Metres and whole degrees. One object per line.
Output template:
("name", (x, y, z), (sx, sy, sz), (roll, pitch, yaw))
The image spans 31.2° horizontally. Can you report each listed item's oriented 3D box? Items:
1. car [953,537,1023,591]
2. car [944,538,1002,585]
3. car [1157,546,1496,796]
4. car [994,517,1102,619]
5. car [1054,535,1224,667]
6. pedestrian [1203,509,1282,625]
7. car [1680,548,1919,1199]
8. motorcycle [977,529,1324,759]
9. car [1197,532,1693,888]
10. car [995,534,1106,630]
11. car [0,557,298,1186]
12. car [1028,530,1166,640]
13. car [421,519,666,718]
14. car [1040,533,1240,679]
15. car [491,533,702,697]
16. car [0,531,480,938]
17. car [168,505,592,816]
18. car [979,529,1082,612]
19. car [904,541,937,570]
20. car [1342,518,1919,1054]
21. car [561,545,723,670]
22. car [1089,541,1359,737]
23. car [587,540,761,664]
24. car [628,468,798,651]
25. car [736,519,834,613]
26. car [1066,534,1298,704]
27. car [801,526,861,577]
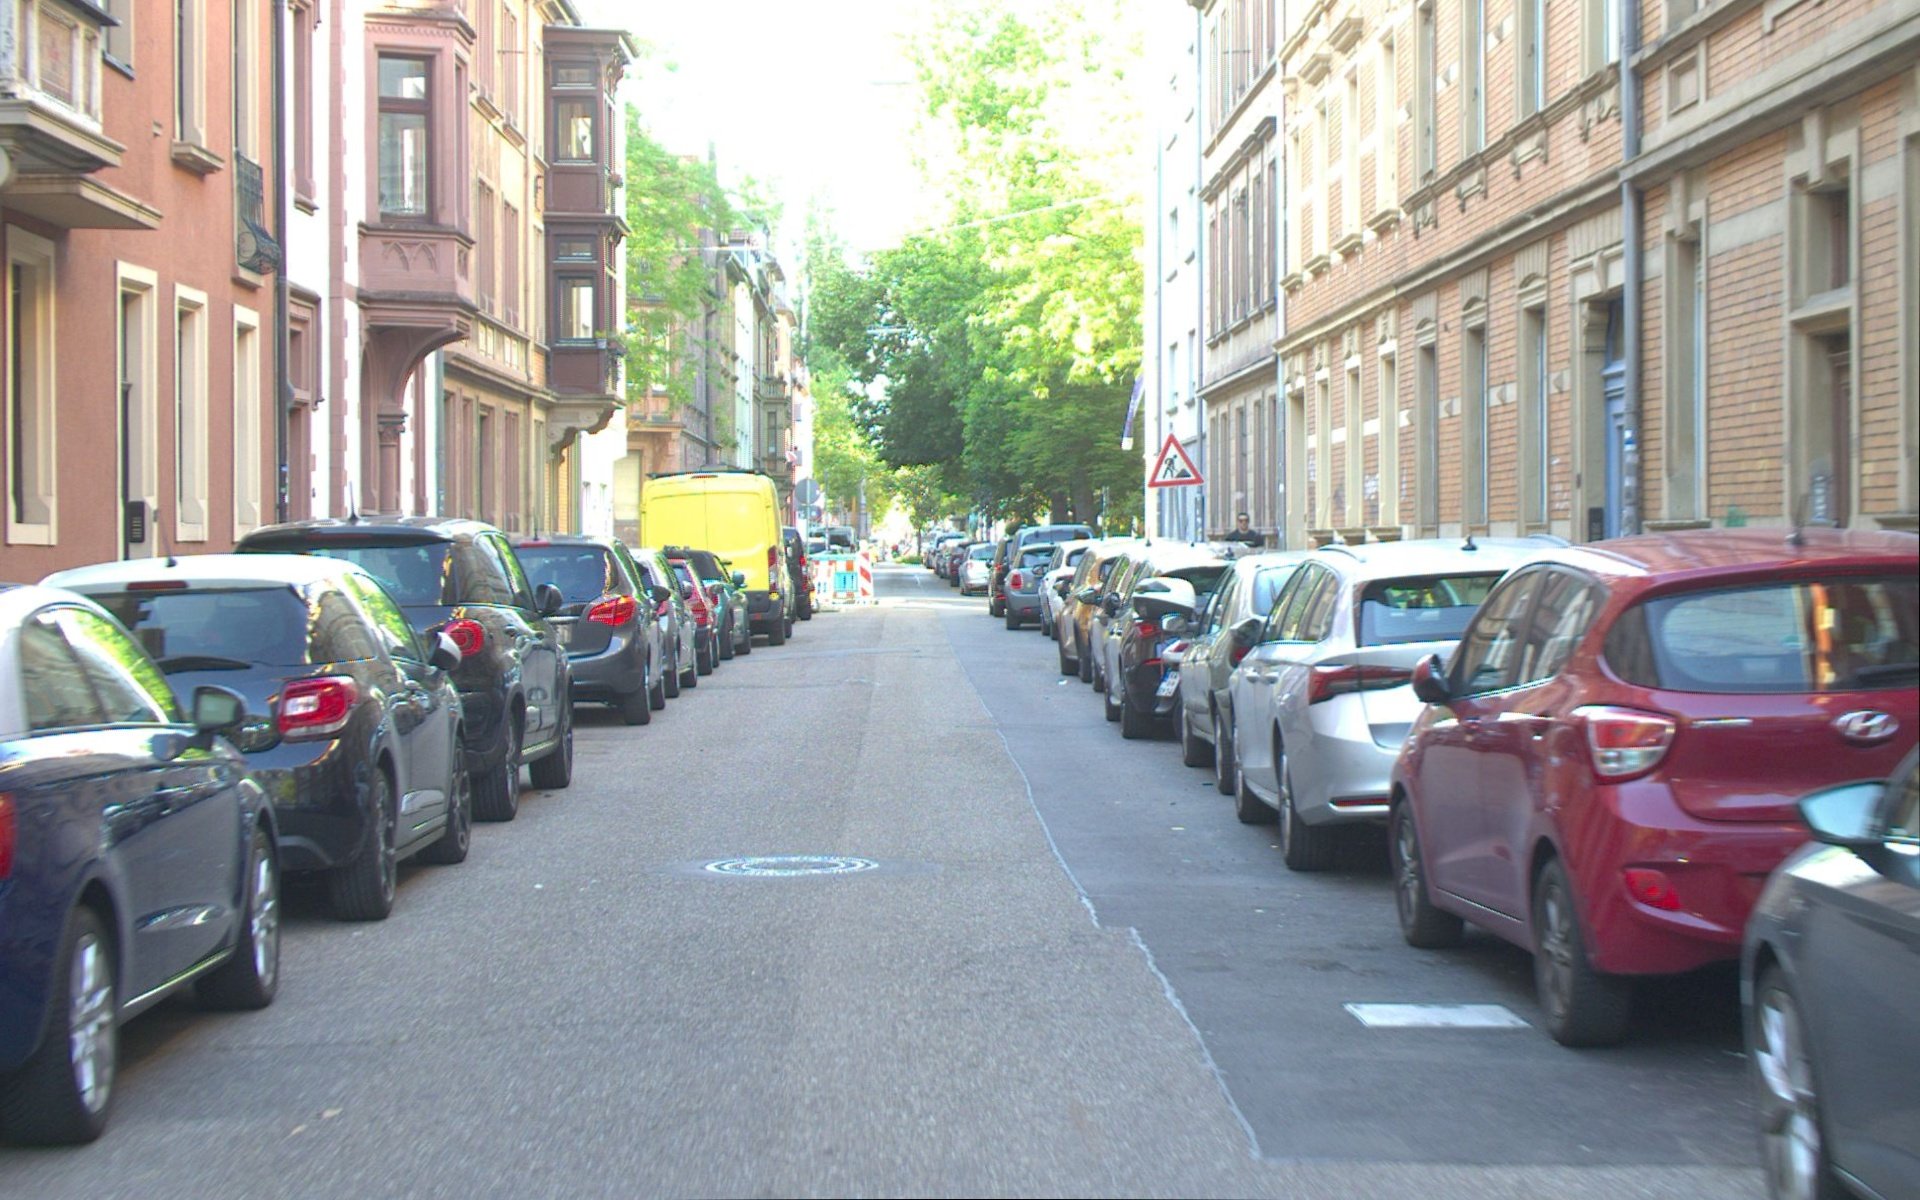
("car", (0.794, -1.053, 99.309), (1.723, 1.517, 4.001), (-1, 1, -4))
("car", (0.431, -1.350, 120.590), (1.894, 1.620, 4.000), (0, 0, -2))
("car", (2.220, 0.378, 21.731), (1.692, 1.401, 3.992), (0, 1, 0))
("car", (1.638, -0.648, 65.211), (1.753, 1.780, 4.724), (-3, 1, -1))
("car", (2.208, -0.025, 43.256), (1.720, 1.475, 4.083), (-4, 1, -1))
("pedestrian", (4.064, -0.476, 49.454), (0.654, 1.625, 0.880), (-2, 0, -42))
("car", (2.513, 0.681, 5.884), (1.676, 1.498, 4.069), (0, 1, 0))
("motorcycle", (1.338, 0.311, 24.085), (2.218, 1.531, 0.890), (2, 1, -27))
("car", (2.193, 0.421, 16.665), (1.762, 1.479, 4.402), (0, 1, 0))
("car", (1.536, -0.341, 59.777), (1.754, 1.448, 4.288), (-4, 1, 1))
("car", (-3.034, 0.592, 9.615), (1.781, 1.398, 3.743), (0, 1, -2))
("car", (2.104, -0.273, 53.893), (1.753, 1.513, 4.444), (-4, 1, -2))
("car", (-3.514, 0.110, 29.617), (1.781, 1.600, 4.070), (0, 1, -2))
("car", (1.947, 0.035, 38.279), (1.753, 1.441, 4.069), (-3, 1, -3))
("car", (-3.590, 0.103, 34.530), (1.694, 1.469, 3.919), (-3, 1, -1))
("car", (-3.118, 0.468, 14.723), (1.643, 1.450, 3.839), (-2, 1, -2))
("car", (-3.227, 0.273, 19.906), (1.761, 1.612, 4.189), (0, 1, 0))
("car", (1.391, -0.605, 69.881), (1.900, 1.634, 4.391), (0, 1, -1))
("car", (-2.407, -2.734, 208.548), (1.993, 1.722, 4.000), (-1, 1, -1))
("car", (2.437, 0.467, 11.528), (1.658, 1.474, 4.025), (0, 1, -3))
("car", (-3.707, 0.060, 40.515), (1.618, 1.322, 3.613), (-3, 1, -2))
("car", (2.004, 0.248, 27.196), (1.777, 1.392, 4.317), (0, 1, 0))
("car", (-3.699, -0.006, 45.059), (1.718, 1.408, 3.897), (-5, 1, 2))
("car", (-3.645, -0.628, 51.725), (2.175, 2.499, 5.879), (-2, 1, -1))
("car", (-3.413, -0.677, 66.447), (1.818, 1.760, 4.336), (0, 1, -4))
("car", (2.095, 0.134, 33.536), (1.725, 1.412, 4.094), (-4, 1, -2))
("car", (-5.372, -2.006, 143.415), (2.309, 2.107, 5.170), (0, 0, 0))
